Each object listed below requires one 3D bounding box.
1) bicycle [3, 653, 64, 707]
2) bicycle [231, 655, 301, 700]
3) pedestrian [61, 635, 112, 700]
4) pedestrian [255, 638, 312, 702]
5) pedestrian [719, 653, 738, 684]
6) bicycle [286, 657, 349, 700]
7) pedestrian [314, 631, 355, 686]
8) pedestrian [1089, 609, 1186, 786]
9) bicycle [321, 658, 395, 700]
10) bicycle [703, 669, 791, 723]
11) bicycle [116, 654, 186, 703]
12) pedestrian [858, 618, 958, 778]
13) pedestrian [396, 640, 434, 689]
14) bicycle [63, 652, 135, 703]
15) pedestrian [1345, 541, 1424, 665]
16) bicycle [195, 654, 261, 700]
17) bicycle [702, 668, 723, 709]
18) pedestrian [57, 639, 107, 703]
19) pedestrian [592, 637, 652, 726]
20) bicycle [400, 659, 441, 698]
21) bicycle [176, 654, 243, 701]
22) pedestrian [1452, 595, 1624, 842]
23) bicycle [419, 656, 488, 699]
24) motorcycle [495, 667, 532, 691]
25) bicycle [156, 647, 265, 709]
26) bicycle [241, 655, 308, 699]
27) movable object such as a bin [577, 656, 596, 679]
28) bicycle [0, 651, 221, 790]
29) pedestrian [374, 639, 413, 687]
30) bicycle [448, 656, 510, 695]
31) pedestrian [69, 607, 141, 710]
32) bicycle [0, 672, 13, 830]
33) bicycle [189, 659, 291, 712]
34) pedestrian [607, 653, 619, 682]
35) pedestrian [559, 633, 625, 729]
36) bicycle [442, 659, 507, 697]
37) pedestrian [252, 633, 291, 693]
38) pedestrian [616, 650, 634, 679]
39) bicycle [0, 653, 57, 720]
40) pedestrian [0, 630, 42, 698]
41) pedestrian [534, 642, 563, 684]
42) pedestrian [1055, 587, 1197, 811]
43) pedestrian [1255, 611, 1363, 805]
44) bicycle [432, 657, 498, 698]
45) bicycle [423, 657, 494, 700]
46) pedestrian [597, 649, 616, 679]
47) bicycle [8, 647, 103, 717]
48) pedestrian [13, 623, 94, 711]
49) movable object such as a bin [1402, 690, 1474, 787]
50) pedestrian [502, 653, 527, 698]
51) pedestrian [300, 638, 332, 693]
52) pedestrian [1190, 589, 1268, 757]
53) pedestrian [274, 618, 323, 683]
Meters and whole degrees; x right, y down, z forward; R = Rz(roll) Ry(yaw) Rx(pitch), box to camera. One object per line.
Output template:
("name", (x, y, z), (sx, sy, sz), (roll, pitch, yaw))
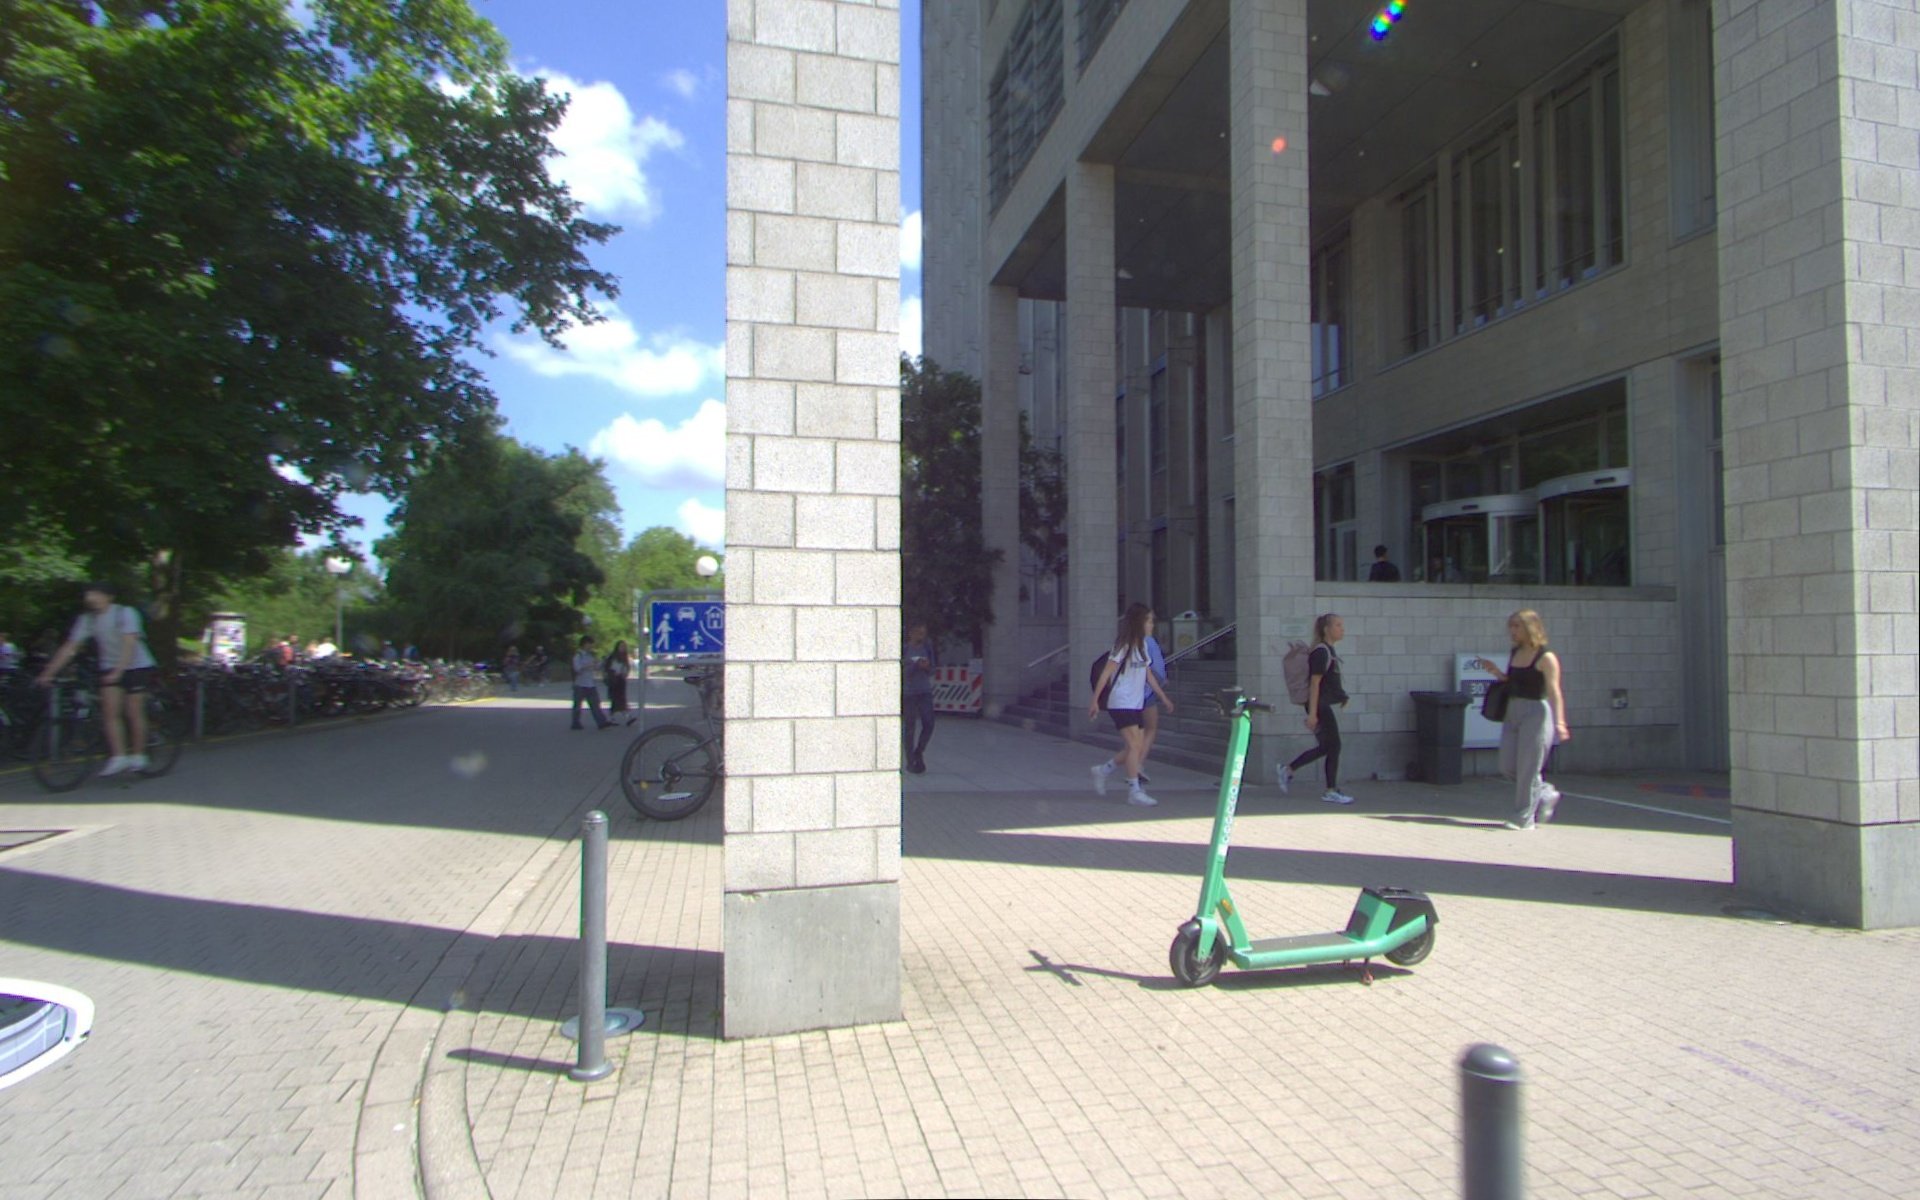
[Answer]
("bicycle", (-19.770, 1.699, 21.362), (1.675, 1.096, 0.472), (-1, -4, 32))
("bicycle", (-17.363, 1.932, 25.053), (1.669, 1.096, 0.474), (0, -3, 18))
("pedestrian", (-23.341, 1.809, 26.751), (0.762, 1.700, 0.900), (-2, -4, 43))
("pedestrian", (-18.849, 1.943, 27.916), (0.706, 1.745, 1.063), (-1, -2, 19))
("pedestrian", (-14.007, 4.150, 60.639), (1.014, 1.880, 0.888), (2, -3, -15))
("bicycle", (-16.920, 2.057, 26.371), (1.671, 1.096, 0.473), (-1, -4, 22))
("pedestrian", (-20.129, 1.879, 32.242), (0.921, 1.745, 0.676), (1, -2, -16))
("pedestrian", (1.856, 0.993, 10.460), (0.637, 1.745, 0.859), (-2, -3, 44))
("bicycle", (-16.341, 2.134, 27.188), (1.666, 1.096, 0.474), (1, -3, 0))
("bicycle", (-4.314, 1.933, 20.304), (1.714, 1.052, 0.449), (1, -2, -18))
("bicycle", (-18.791, 1.807, 23.255), (1.671, 1.096, 0.473), (-1, -4, 23))
("pedestrian", (-0.561, 1.022, 10.554), (0.806, 1.593, 0.880), (3, -4, -19))
("pedestrian", (-20.866, 2.473, 38.333), (0.820, 1.837, 0.881), (0, -3, 21))
("bicycle", (-19.076, 1.707, 22.182), (1.671, 1.096, 0.473), (-1, -4, 23))
("pedestrian", (6.496, 0.072, 15.359), (0.691, 1.825, 0.881), (1, -2, -19))
("bicycle", (-18.098, 1.907, 24.743), (1.671, 1.096, 0.473), (-1, -4, 23))
("bicycle", (-6.752, 2.393, 27.320), (0.529, 1.052, 1.858), (0, -4, -13))
("pedestrian", (-23.942, 1.927, 27.307), (0.762, 1.700, 0.900), (-2, -4, 43))
("pedestrian", (-6.446, 1.542, 19.118), (0.730, 1.637, 0.804), (-2, -3, 32))
("bicycle", (-15.889, 2.302, 29.538), (0.499, 1.096, 1.700), (1, -4, -10))
("bicycle", (-18.193, 1.870, 24.268), (1.671, 1.096, 0.473), (-1, -4, 23))
("pedestrian", (4.207, 0.845, 7.311), (0.868, 1.675, 0.701), (3, -3, -21))
("bicycle", (-14.258, 2.191, 28.237), (1.674, 1.182, 0.472), (3, -4, -26))
("motorcycle", (-21.100, 3.719, 47.343), (1.995, 1.060, 0.472), (0, -3, 30))
("bicycle", (-15.478, 1.626, 20.718), (1.673, 1.234, 0.501), (3, -4, -25))
("bicycle", (-17.551, 1.968, 25.637), (1.669, 1.096, 0.474), (0, -3, 18))
("movable object such as a bin", (-23.453, 4.246, 62.846), (0.698, 1.352, 1.240), (3, -4, -3))
("bicycle", (-8.192, 1.113, 9.633), (0.790, 1.186, 1.888), (2, -4, -4))
("pedestrian", (-21.752, 2.416, 38.478), (0.757, 1.826, 0.982), (0, -3, 24))
("bicycle", (-14.851, 2.348, 30.961), (1.672, 1.173, 0.473), (3, -4, -22))
("pedestrian", (-15.635, 1.066, 18.321), (0.700, 1.829, 0.766), (-1, -3, 33))
("bicycle", (-6.769, 0.980, 5.797), (0.662, 1.154, 1.889), (2, -4, 2))
("bicycle", (-15.620, 1.853, 21.762), (1.673, 1.121, 0.501), (3, -4, -25))
("pedestrian", (-20.108, 3.921, 58.075), (0.561, 1.630, 0.917), (2, -4, -21))
("pedestrian", (-6.610, 1.441, 18.005), (0.884, 1.691, 0.673), (-1, -2, 24))
("bicycle", (-14.770, 2.377, 30.496), (1.671, 1.104, 0.473), (2, -4, -19))
("pedestrian", (-20.603, 1.885, 29.987), (0.674, 1.745, 0.731), (2, -3, -15))
("pedestrian", (-21.501, 4.143, 64.258), (0.672, 1.866, 0.783), (0, -4, 18))
("bicycle", (-16.572, 1.487, 17.480), (1.671, 1.121, 0.502), (-1, -4, 23))
("pedestrian", (-23.894, 1.619, 25.304), (0.762, 1.700, 0.900), (-2, -4, 43))
("pedestrian", (-18.577, 2.858, 45.198), (0.604, 1.857, 1.047), (-1, -4, 25))
("pedestrian", (1.389, 0.817, 8.422), (0.771, 1.745, 0.853), (2, -5, -41))
("pedestrian", (3.082, 0.925, 8.838), (0.814, 1.619, 0.588), (-1, -2, 29))
("bicycle", (-14.688, 2.303, 29.736), (1.671, 1.182, 0.473), (2, -4, -19))
("bicycle", (-14.473, 2.266, 28.913), (1.746, 1.182, 0.474), (1, -3, 0))
("pedestrian", (-22.586, 4.110, 63.991), (0.777, 1.867, 1.110), (4, -4, -37))
("bicycle", (-16.301, 1.466, 18.039), (1.671, 1.214, 0.575), (-1, -4, 23))
("pedestrian", (-18.281, 1.346, 20.206), (0.757, 1.723, 0.905), (0, -3, 24))
("movable object such as a bin", (4.908, 1.408, 10.293), (0.368, 0.950, 0.549), (2, -3, -32))
("pedestrian", (-17.140, 2.882, 38.529), (0.757, 1.700, 0.905), (1, -2, -19))
("pedestrian", (-20.870, 2.106, 32.449), (0.723, 1.745, 0.681), (-2, -3, 41))
("pedestrian", (3.059, 0.819, 11.389), (0.678, 1.825, 0.584), (2, -3, -43))
("pedestrian", (-19.334, 1.479, 29.281), (0.674, 1.858, 0.939), (-1, -2, 21))
